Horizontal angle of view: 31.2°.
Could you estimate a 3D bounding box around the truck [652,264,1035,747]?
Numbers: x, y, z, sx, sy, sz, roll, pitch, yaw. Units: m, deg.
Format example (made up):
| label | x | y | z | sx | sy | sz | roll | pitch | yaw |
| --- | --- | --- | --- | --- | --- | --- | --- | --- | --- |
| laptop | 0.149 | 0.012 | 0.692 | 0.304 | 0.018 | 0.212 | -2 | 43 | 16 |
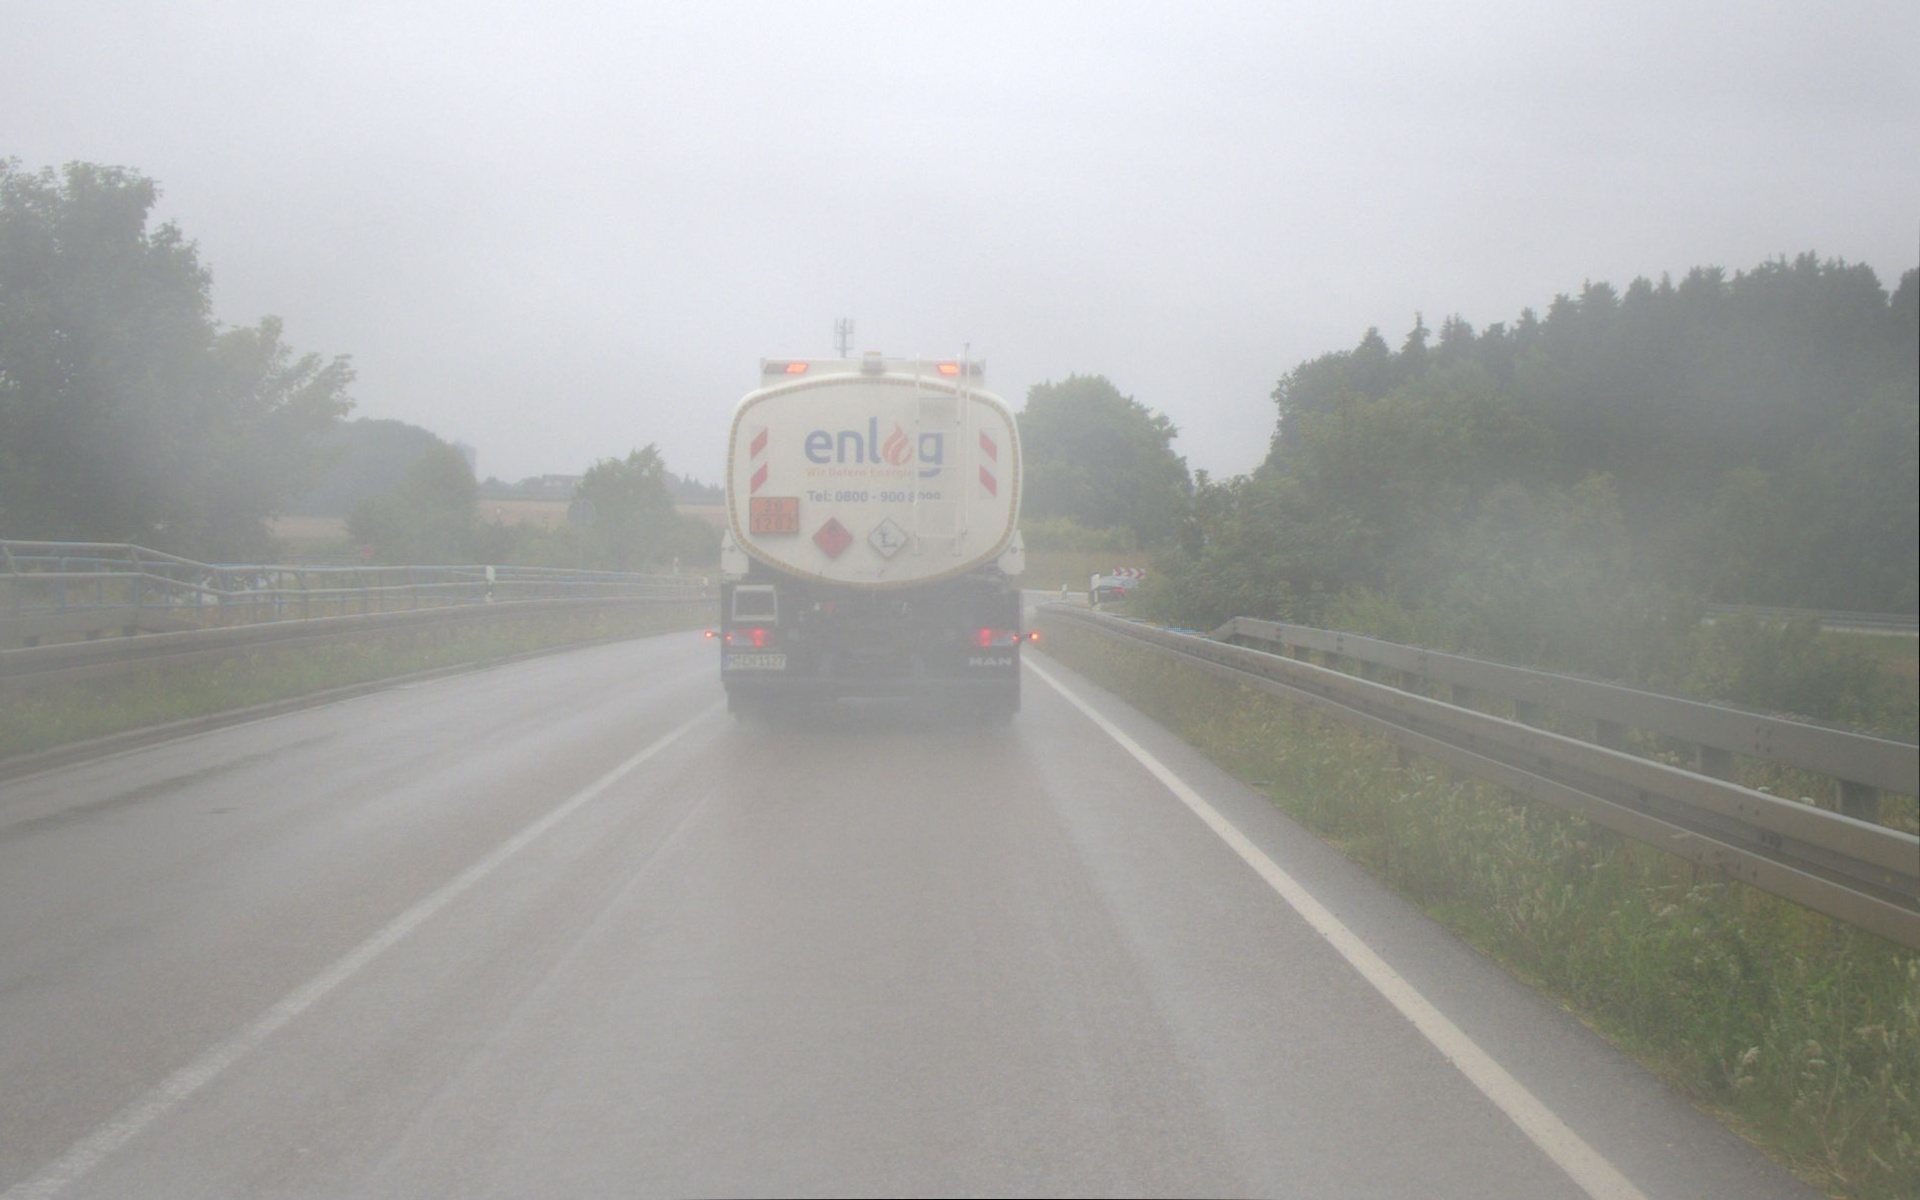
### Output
| label | x | y | z | sx | sy | sz | roll | pitch | yaw |
| --- | --- | --- | --- | --- | --- | --- | --- | --- | --- |
| truck | -0.941 | -0.819 | 31.851 | 3.039 | 3.838 | 8.822 | 0 | 1 | 0 |
